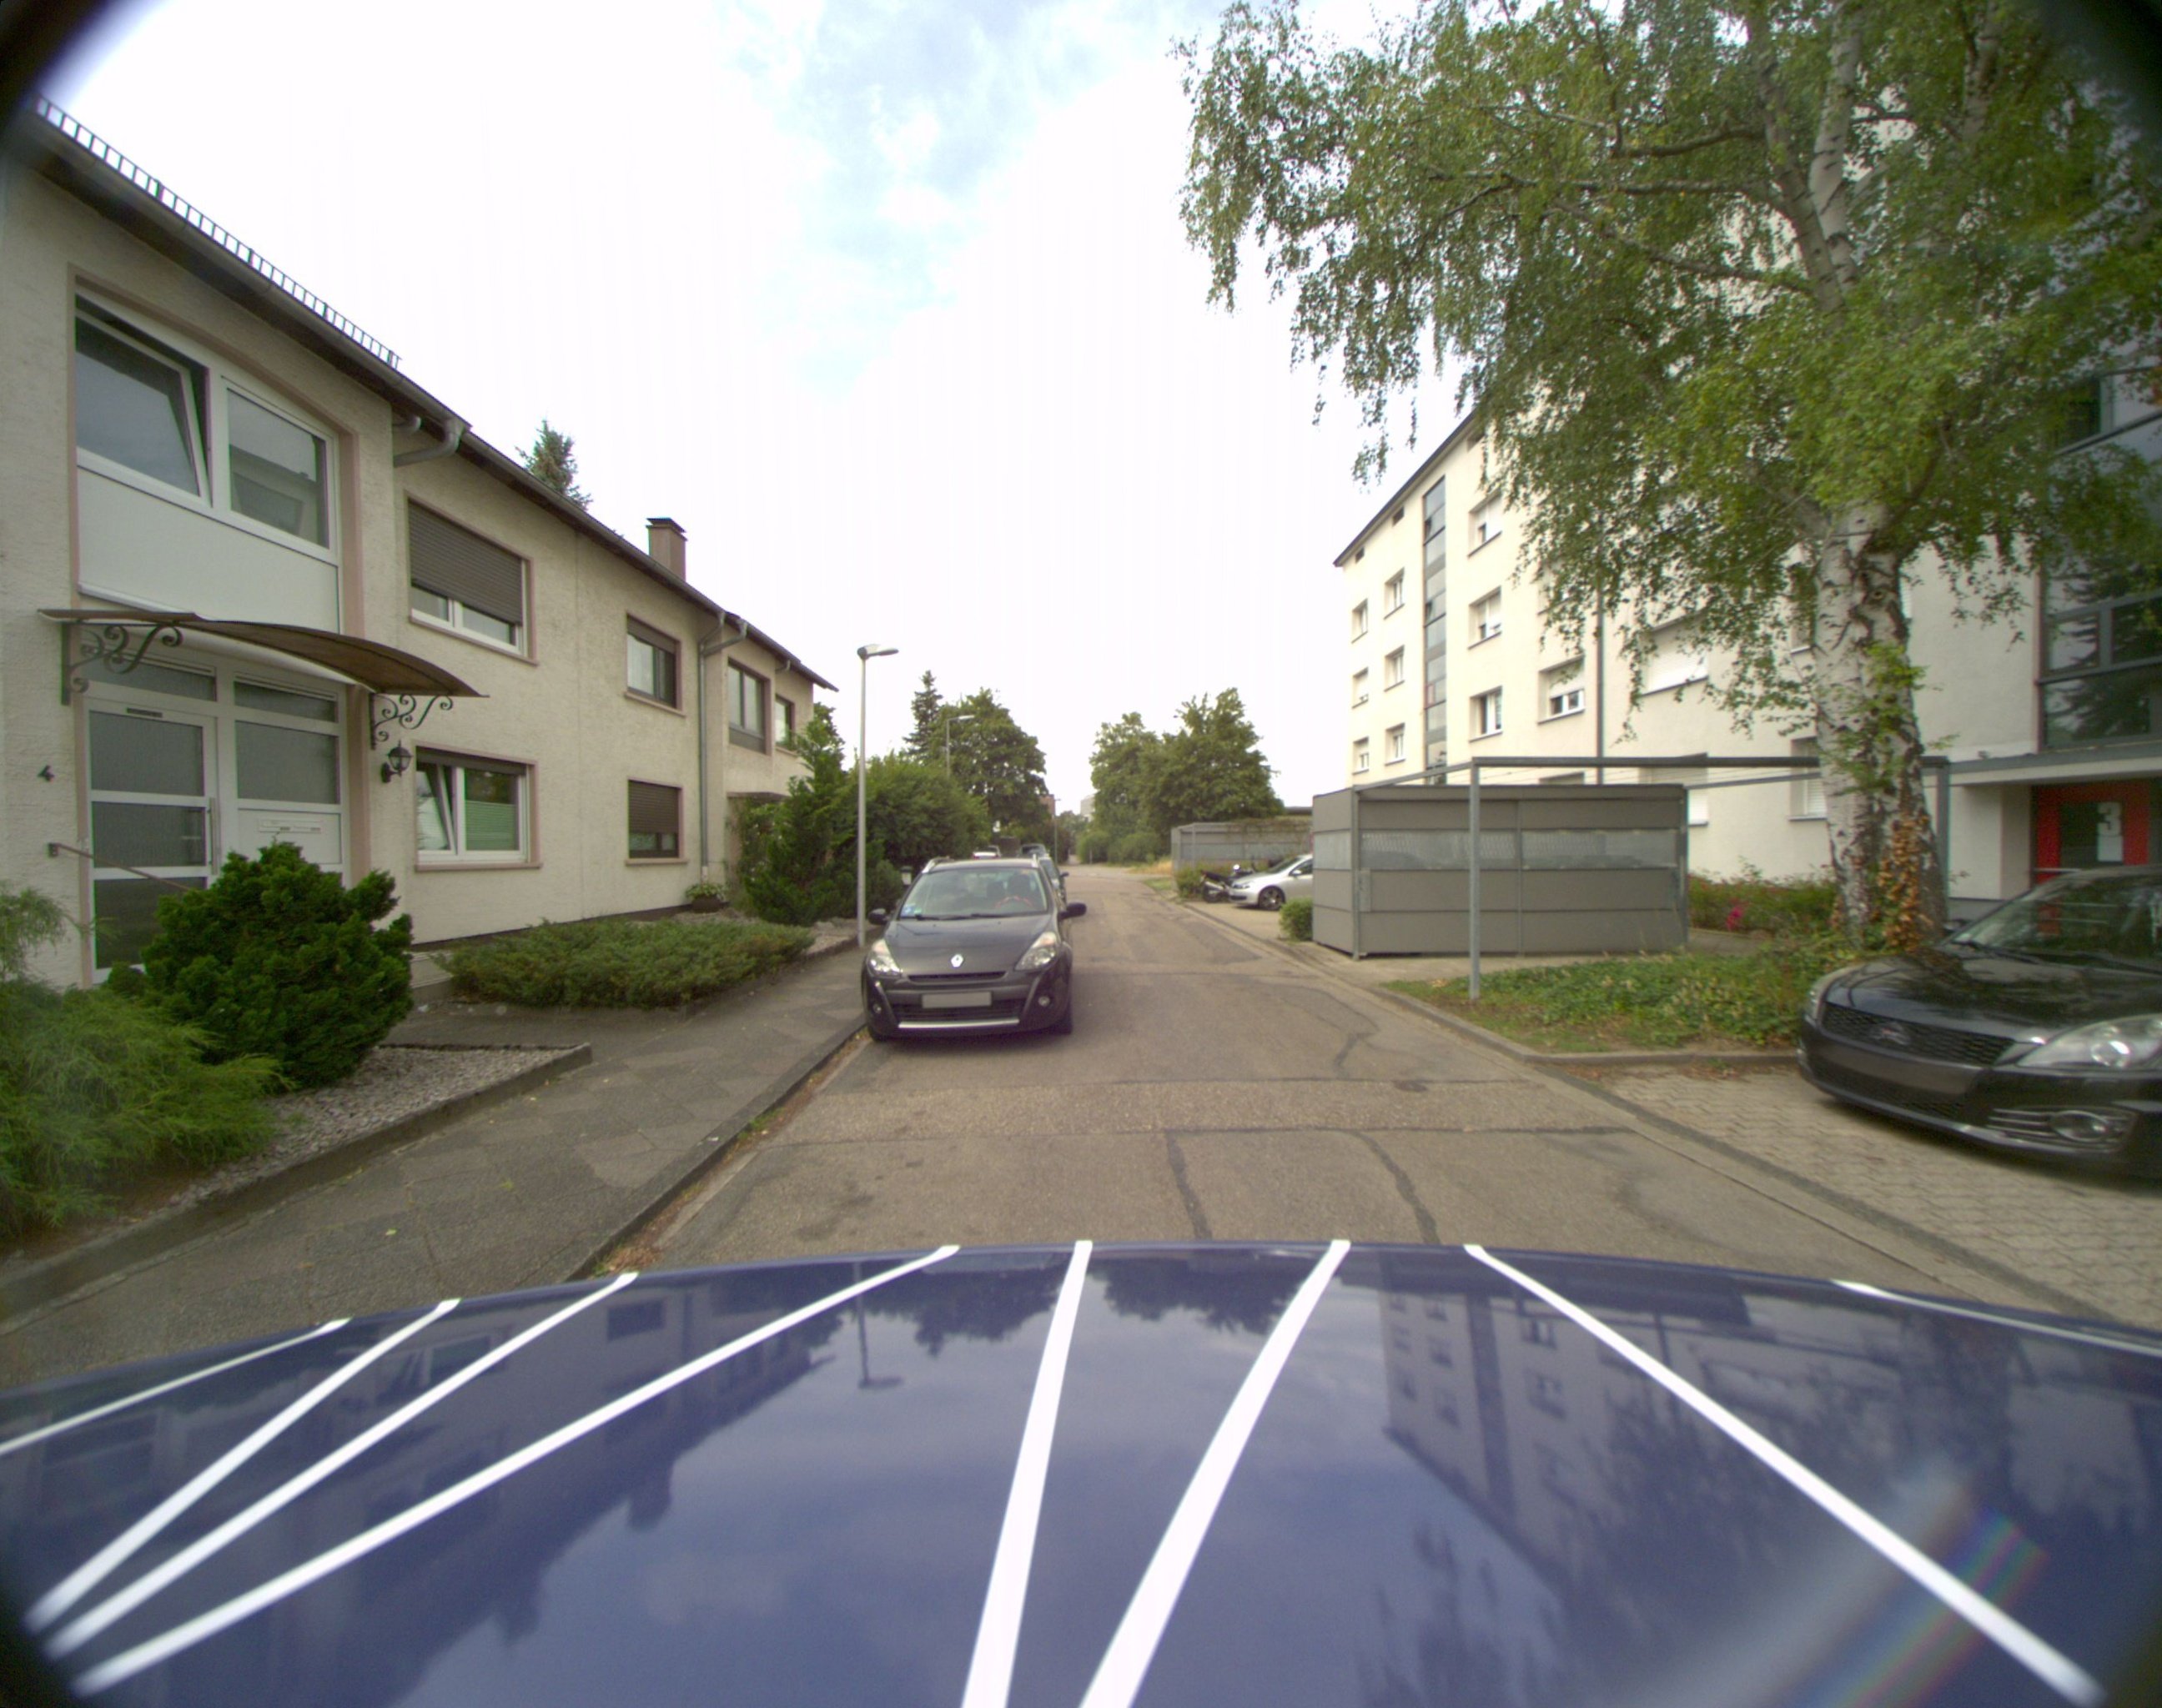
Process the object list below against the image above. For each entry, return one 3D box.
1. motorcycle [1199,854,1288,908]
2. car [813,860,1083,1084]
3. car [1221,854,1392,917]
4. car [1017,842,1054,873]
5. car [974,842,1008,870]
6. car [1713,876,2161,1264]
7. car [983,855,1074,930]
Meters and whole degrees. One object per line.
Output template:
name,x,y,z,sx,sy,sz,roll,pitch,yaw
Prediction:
motorcycle,4.678,0.767,22.014,2.383,1.456,0.714,1,1,-1
car,-1.021,0.836,7.409,1.834,1.449,4.188,-2,1,-3
car,5.926,0.796,20.360,3.997,1.477,1.902,2,1,1
car,-2.575,0.177,43.176,1.926,1.576,3.998,-2,1,-3
car,-5.126,0.076,43.753,1.705,1.458,3.997,0,2,-3
car,6.086,0.910,3.990,4.062,1.496,1.781,0,1,-1
car,-1.176,0.794,17.685,1.834,1.449,4.188,-2,1,-3
